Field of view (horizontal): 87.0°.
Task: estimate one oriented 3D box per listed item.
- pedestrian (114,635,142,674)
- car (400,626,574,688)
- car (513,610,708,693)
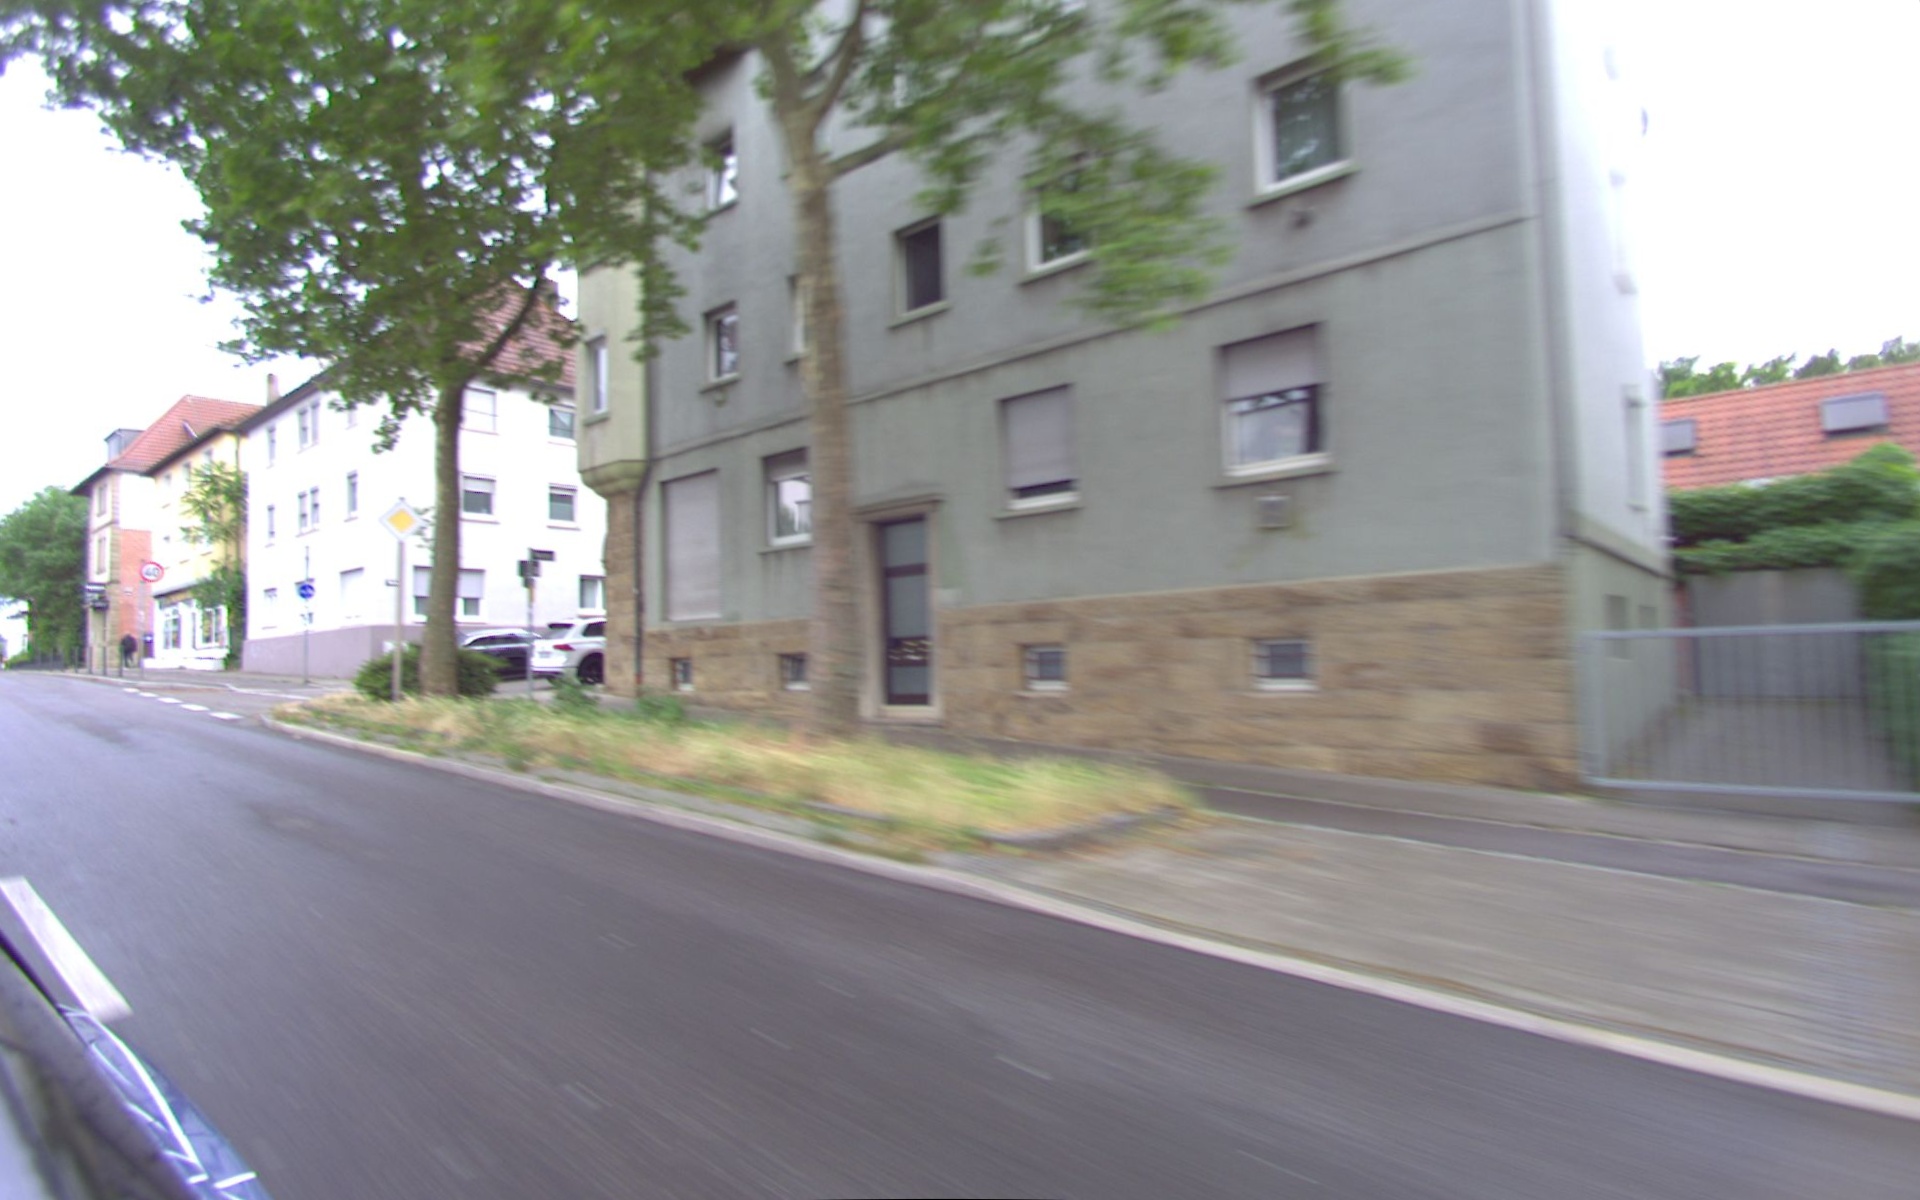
[{"bbox_3d":[-37.570,2.448,45.699,0.992,1.692,0.807,-2,-2,39],"label":"pedestrian"},{"bbox_3d":[-13.271,1.569,28.571,1.999,1.408,3.946,-3,0,40],"label":"car"},{"bbox_3d":[-8.696,1.240,25.412,1.999,1.716,4.139,-3,0,41],"label":"car"}]
